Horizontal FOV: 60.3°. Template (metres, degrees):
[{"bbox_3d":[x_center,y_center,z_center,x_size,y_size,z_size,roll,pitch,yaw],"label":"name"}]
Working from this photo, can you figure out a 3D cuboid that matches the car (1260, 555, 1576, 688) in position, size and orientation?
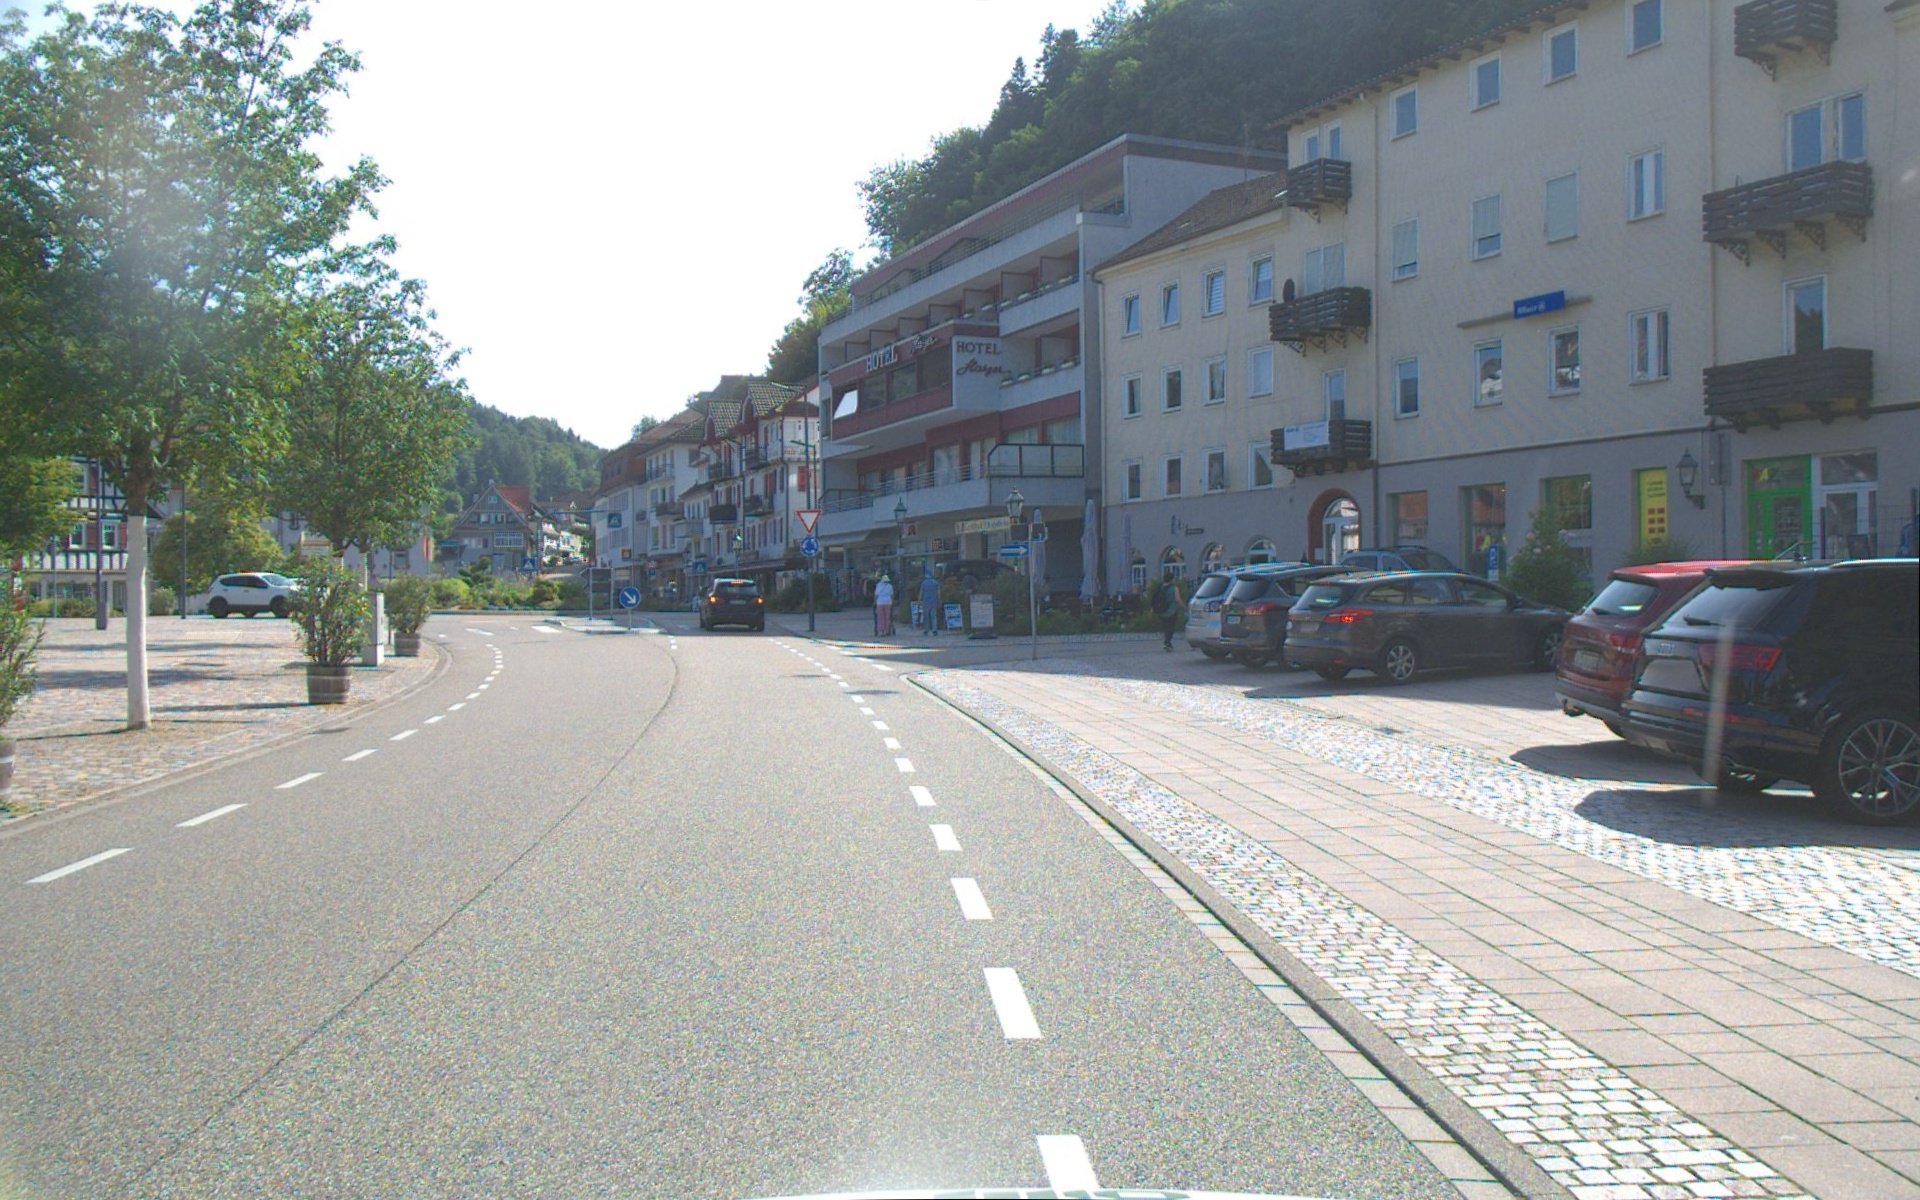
[{"bbox_3d":[6.405,0.248,23.190,3.949,1.542,1.763,-4,2,-18],"label":"car"}]

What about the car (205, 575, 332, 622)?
[{"bbox_3d":[-25.046,-0.047,59.939,4.080,1.644,1.691,0,0,15],"label":"car"}]

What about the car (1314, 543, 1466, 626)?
[{"bbox_3d":[11.110,-0.442,42.930,1.836,2.048,3.644,0,2,-28],"label":"car"}]

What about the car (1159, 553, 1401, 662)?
[{"bbox_3d":[5.648,0.088,29.302,3.802,1.640,1.763,-4,2,-18],"label":"car"}]

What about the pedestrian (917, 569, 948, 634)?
[{"bbox_3d":[-0.761,0.037,45.175,0.659,1.759,0.703,0,0,-20],"label":"pedestrian"}]

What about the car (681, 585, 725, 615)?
[{"bbox_3d":[-14.619,-0.014,93.859,1.653,1.649,3.973,0,0,-22],"label":"car"}]

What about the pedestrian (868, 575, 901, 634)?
[{"bbox_3d":[-2.093,0.124,45.735,0.746,1.621,0.624,0,0,-20],"label":"pedestrian"}]

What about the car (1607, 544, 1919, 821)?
[{"bbox_3d":[6.771,0.565,11.264,3.999,1.695,1.773,2,0,2],"label":"car"}]

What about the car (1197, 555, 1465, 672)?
[{"bbox_3d":[5.933,0.171,26.506,3.802,1.576,1.763,-4,2,-18],"label":"car"}]

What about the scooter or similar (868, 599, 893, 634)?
[{"bbox_3d":[-2.213,0.451,45.815,0.587,0.967,0.471,0,0,-21],"label":"scooter or similar"}]

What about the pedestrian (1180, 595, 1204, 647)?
[{"bbox_3d":[4.682,0.411,33.407,0.408,1.019,0.531,-3,0,3],"label":"pedestrian"}]

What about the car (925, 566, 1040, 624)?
[{"bbox_3d":[0.666,-0.157,49.772,3.115,1.692,1.586,0,0,-19],"label":"car"}]

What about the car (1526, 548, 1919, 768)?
[{"bbox_3d":[7.266,0.484,14.712,3.828,1.730,1.773,2,1,2],"label":"car"}]

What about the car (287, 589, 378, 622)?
[{"bbox_3d":[-28.143,0.216,74.296,1.649,1.445,4.186,0,0,16],"label":"car"}]

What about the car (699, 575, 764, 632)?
[{"bbox_3d":[-7.063,0.072,50.887,1.697,1.602,3.741,0,2,-13],"label":"car"}]

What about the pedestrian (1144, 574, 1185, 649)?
[{"bbox_3d":[4.125,0.219,33.439,0.719,1.467,0.633,-3,0,3],"label":"pedestrian"}]
